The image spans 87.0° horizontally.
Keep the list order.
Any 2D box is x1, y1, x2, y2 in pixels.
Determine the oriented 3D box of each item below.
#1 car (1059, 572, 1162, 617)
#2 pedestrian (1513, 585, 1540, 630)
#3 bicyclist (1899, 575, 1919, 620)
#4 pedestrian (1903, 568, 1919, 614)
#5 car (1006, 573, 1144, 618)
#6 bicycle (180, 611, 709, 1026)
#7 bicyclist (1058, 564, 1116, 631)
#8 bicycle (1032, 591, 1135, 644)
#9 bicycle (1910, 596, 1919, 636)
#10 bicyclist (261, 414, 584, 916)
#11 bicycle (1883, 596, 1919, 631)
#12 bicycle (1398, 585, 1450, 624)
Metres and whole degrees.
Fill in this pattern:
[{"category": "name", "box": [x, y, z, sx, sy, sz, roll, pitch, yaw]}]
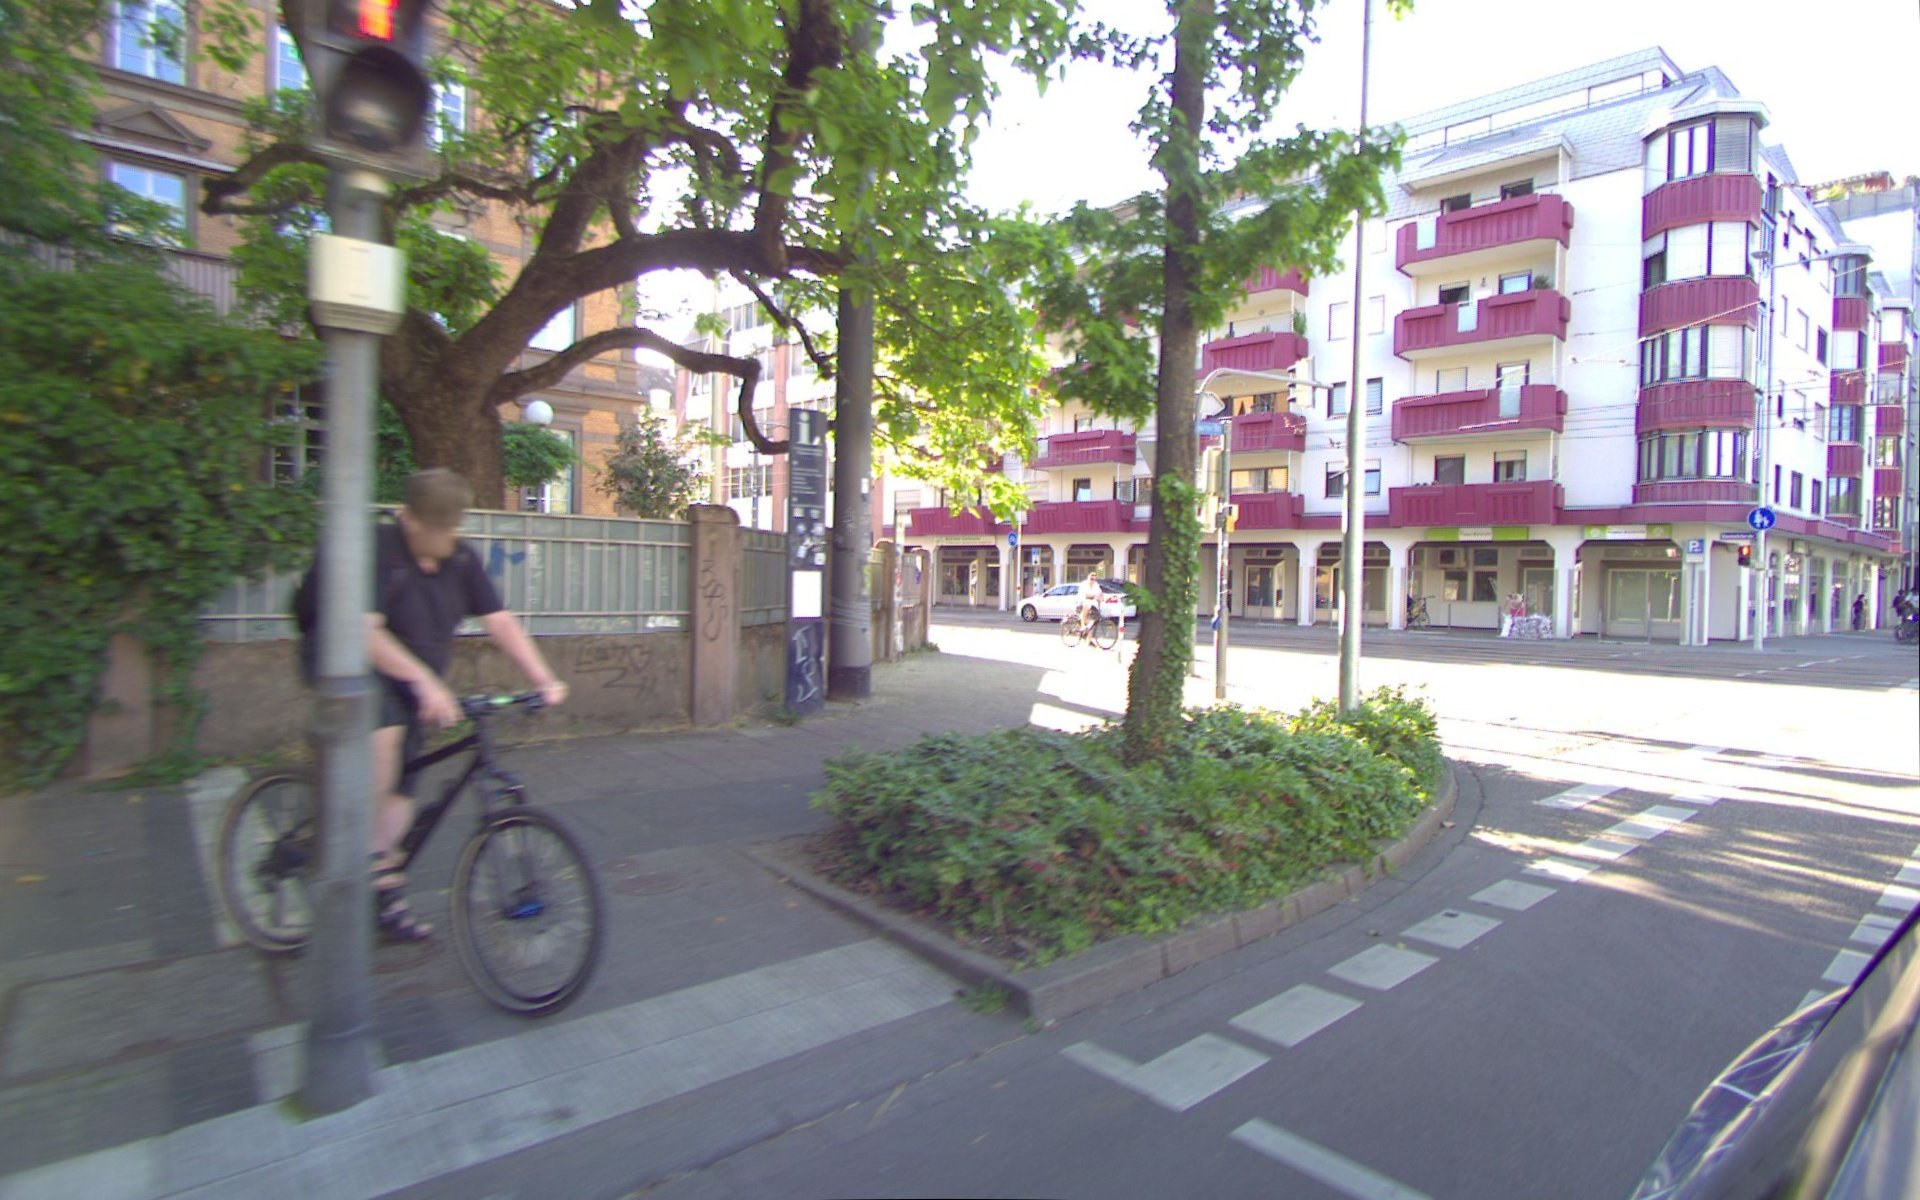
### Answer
[{"category": "car", "box": [5.930, -0.252, 40.151, 1.708, 1.705, 3.902, -1, 1, -41]}, {"category": "pedestrian", "box": [17.791, 0.227, 31.788, 0.656, 1.367, 0.652, 1, 1, 24]}, {"category": "bicyclist", "box": [34.362, -0.085, 35.916, 1.056, 1.559, 1.062, 1, 1, -11]}, {"category": "pedestrian", "box": [39.906, -0.377, 42.178, 0.787, 1.881, 0.724, 0, 2, -40]}, {"category": "car", "box": [4.111, -0.203, 36.814, 4.883, 1.474, 1.826, 2, 2, 43]}, {"category": "bicycle", "box": [-1.850, 0.621, 3.553, 1.931, 1.083, 0.636, 2, 1, 27]}, {"category": "bicyclist", "box": [2.980, -0.074, 23.709, 0.924, 1.528, 0.998, 2, 1, 40]}, {"category": "bicycle", "box": [2.873, 0.392, 23.798, 2.321, 1.133, 0.834, 2, 1, 40]}, {"category": "bicycle", "box": [30.177, 0.519, 30.744, 0.535, 1.214, 1.808, -1, 3, -34]}, {"category": "bicyclist", "box": [-1.868, 0.184, 3.569, 0.695, 1.528, 0.744, 1, 1, 26]}, {"category": "bicycle", "box": [34.305, 0.491, 35.904, 2.544, 1.198, 0.965, 1, 1, -11]}, {"category": "bicycle", "box": [15.537, 0.147, 33.913, 0.603, 1.214, 1.802, 1, 2, -12]}]
